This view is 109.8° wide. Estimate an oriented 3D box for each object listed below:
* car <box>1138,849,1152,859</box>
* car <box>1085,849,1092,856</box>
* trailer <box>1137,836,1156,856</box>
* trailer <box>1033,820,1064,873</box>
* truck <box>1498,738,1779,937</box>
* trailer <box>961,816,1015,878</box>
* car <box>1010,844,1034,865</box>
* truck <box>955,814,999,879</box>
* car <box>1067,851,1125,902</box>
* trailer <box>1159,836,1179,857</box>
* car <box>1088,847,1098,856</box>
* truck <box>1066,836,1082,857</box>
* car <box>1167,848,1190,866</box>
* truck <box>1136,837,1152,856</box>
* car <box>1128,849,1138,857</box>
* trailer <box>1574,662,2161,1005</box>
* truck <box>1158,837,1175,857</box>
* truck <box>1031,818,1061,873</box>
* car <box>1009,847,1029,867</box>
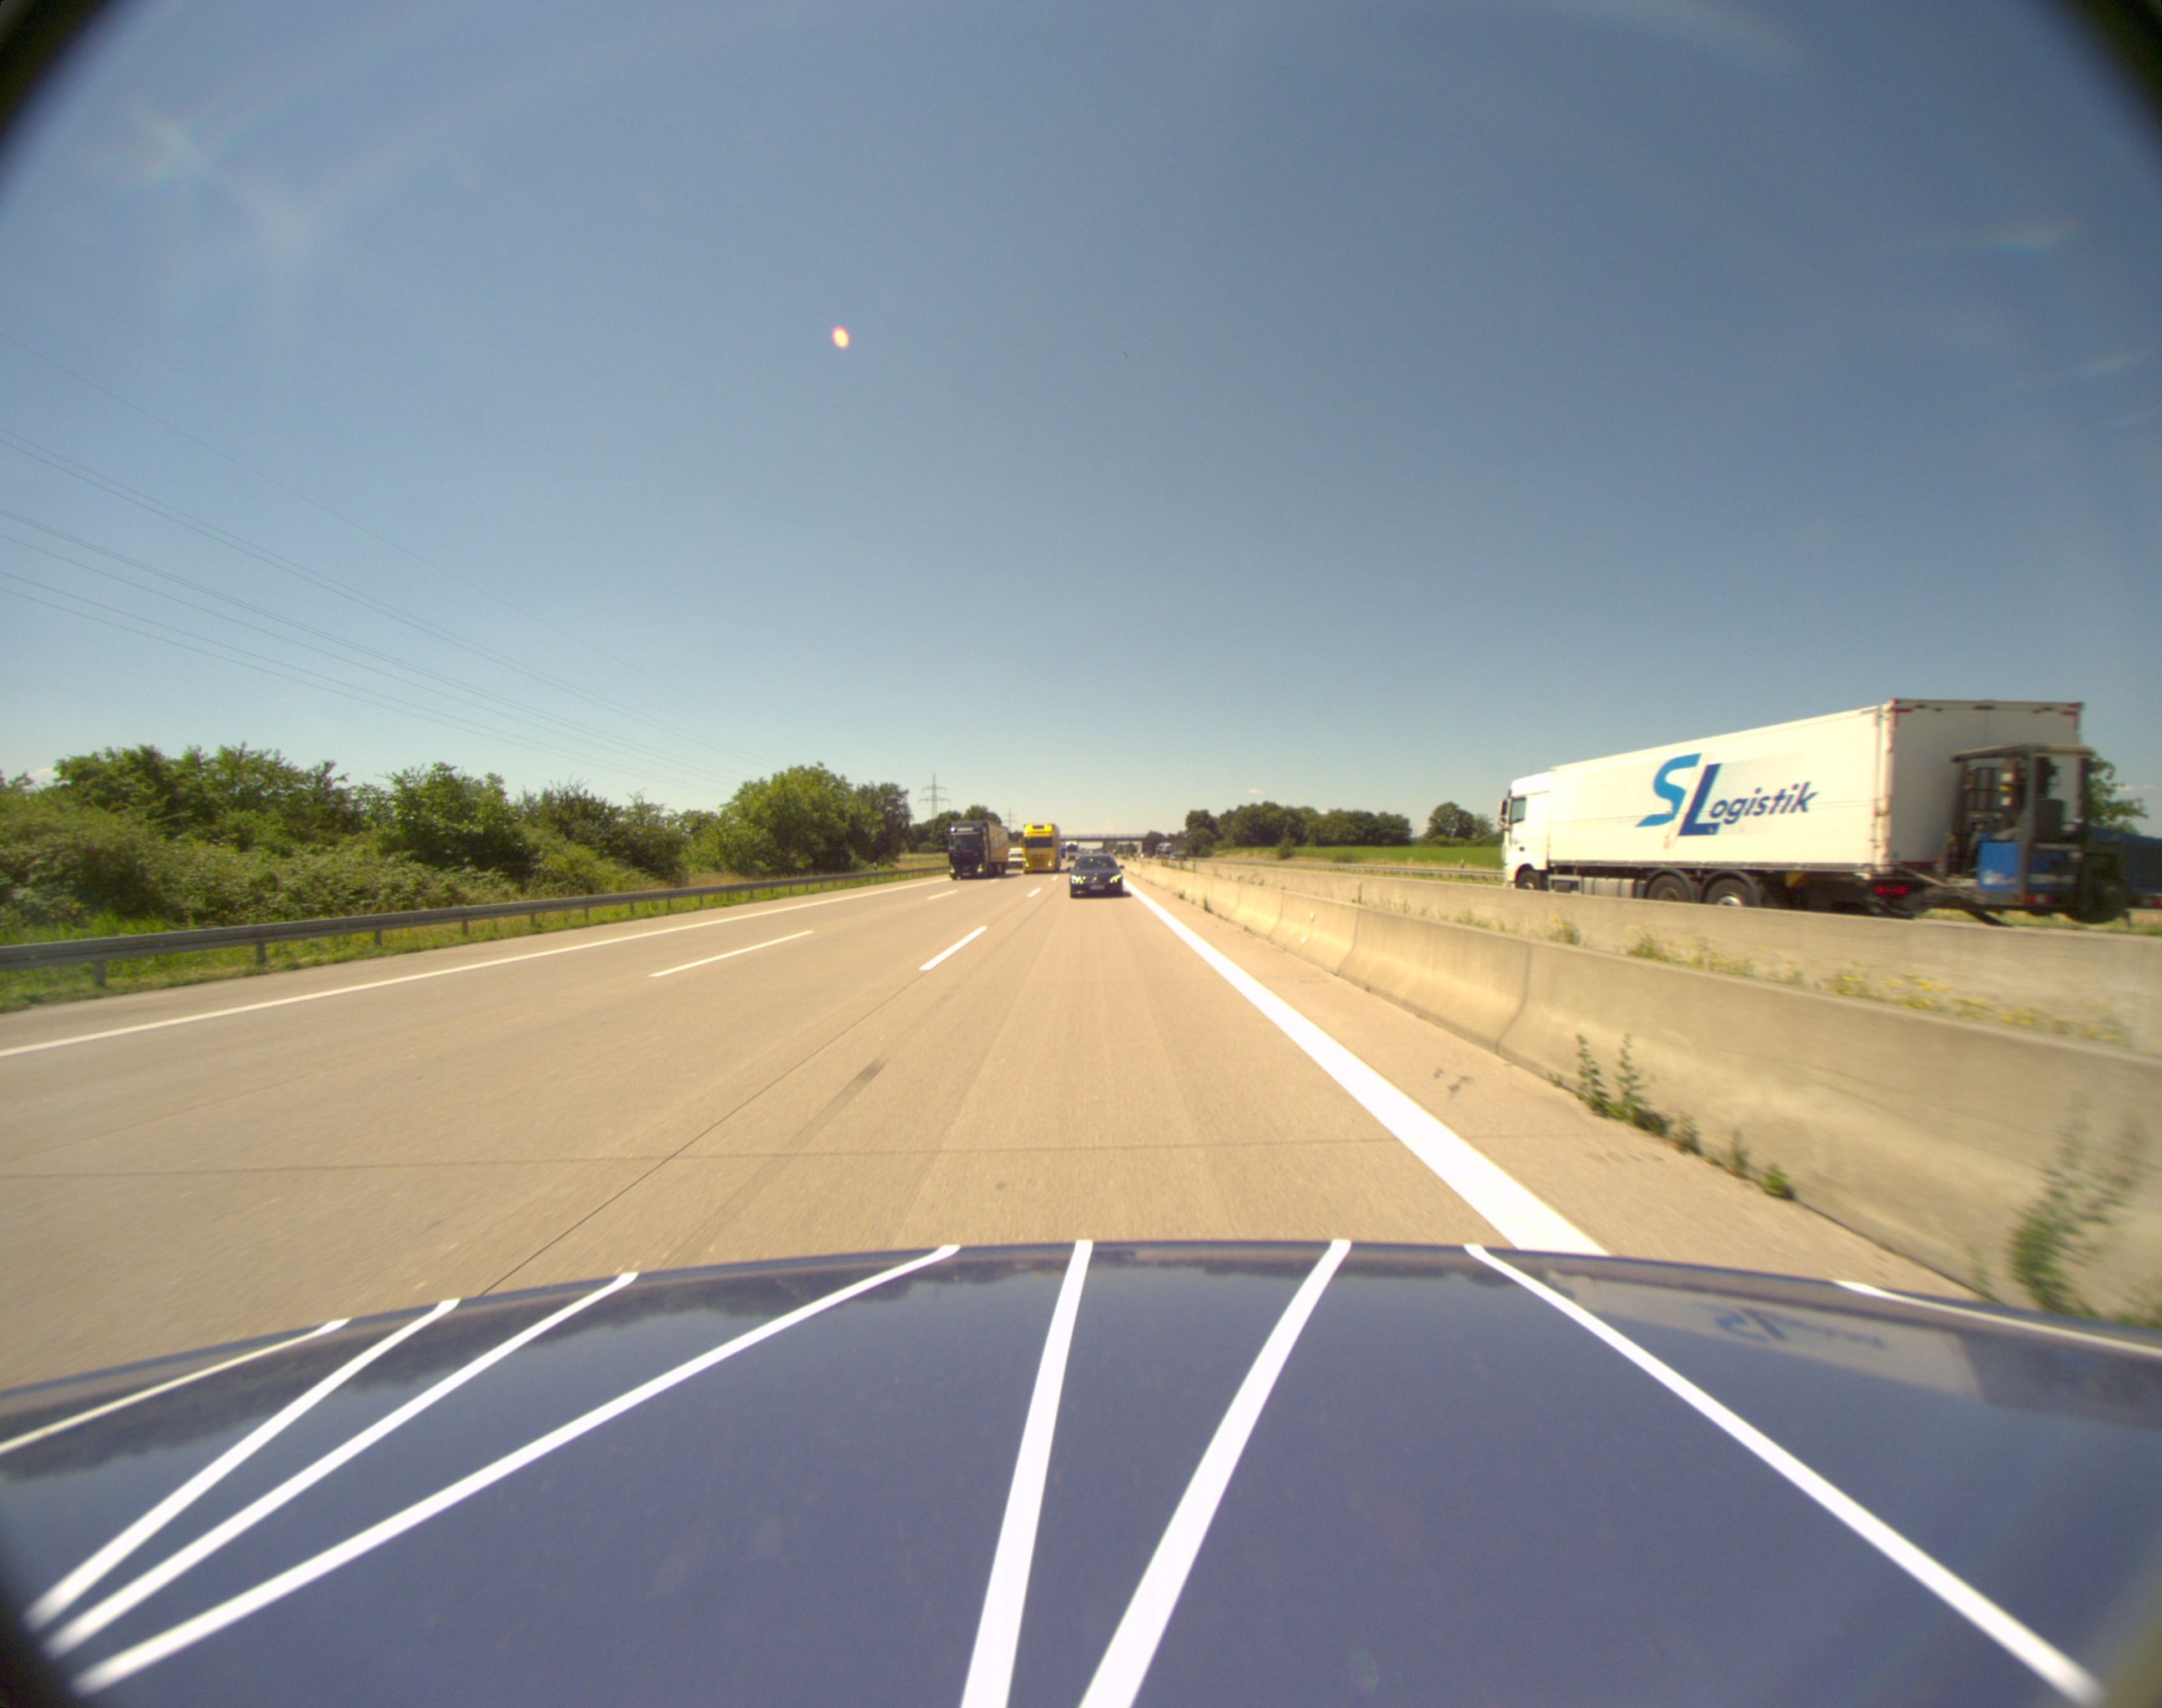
[{"bbox_3d":[10.831,-0.027,128.679,1.887,1.685,4.682,-2,0,1],"label":"car"},{"bbox_3d":[2.105,-0.449,215.913,1.999,1.827,4.815,-2,0,-2],"label":"car"},{"bbox_3d":[15.304,-1.802,178.605,3.276,4.450,14.450,0,0,1],"label":"trailer"},{"bbox_3d":[-2.798,-0.659,69.141,1.998,4.230,15.198,-2,0,0],"label":"trailer"},{"bbox_3d":[12.742,-0.344,18.001,2.908,3.947,5.045,-2,1,1],"label":"truck"},{"bbox_3d":[-7.008,-0.547,59.428,1.998,4.168,14.745,-2,0,1],"label":"trailer"},{"bbox_3d":[-6.775,0.038,88.005,2.139,2.334,5.515,-2,0,1],"label":"car"},{"bbox_3d":[-7.116,-0.496,52.637,1.998,4.169,5.705,-2,1,1],"label":"truck"},{"bbox_3d":[0.513,0.730,26.989,1.848,1.576,3.940,-2,0,1],"label":"car"},{"bbox_3d":[19.739,-1.695,171.054,3.239,4.580,12.292,-2,0,1],"label":"trailer"},{"bbox_3d":[2.515,-0.532,158.927,1.998,1.781,4.301,-2,0,1],"label":"car"},{"bbox_3d":[-1.362,-1.628,157.737,2.959,4.122,6.152,-2,1,1],"label":"truck"},{"bbox_3d":[9.954,0.259,77.698,1.868,1.719,4.141,-2,0,2],"label":"car"},{"bbox_3d":[15.299,-1.873,185.344,3.276,4.450,7.189,0,1,1],"label":"truck"},{"bbox_3d":[10.953,-0.257,160.272,1.909,1.641,4.933,-2,0,1],"label":"car"},{"bbox_3d":[12.711,-0.292,13.092,2.908,3.947,8.477,-2,1,1],"label":"trailer"},{"bbox_3d":[19.825,-1.648,176.993,3.239,4.580,6.250,-2,1,1],"label":"truck"},{"bbox_3d":[-2.812,-0.677,61.980,1.998,4.230,5.194,-2,1,0],"label":"truck"},{"bbox_3d":[-6.806,0.304,83.357,1.788,2.002,3.819,-2,1,1],"label":"car"}]
